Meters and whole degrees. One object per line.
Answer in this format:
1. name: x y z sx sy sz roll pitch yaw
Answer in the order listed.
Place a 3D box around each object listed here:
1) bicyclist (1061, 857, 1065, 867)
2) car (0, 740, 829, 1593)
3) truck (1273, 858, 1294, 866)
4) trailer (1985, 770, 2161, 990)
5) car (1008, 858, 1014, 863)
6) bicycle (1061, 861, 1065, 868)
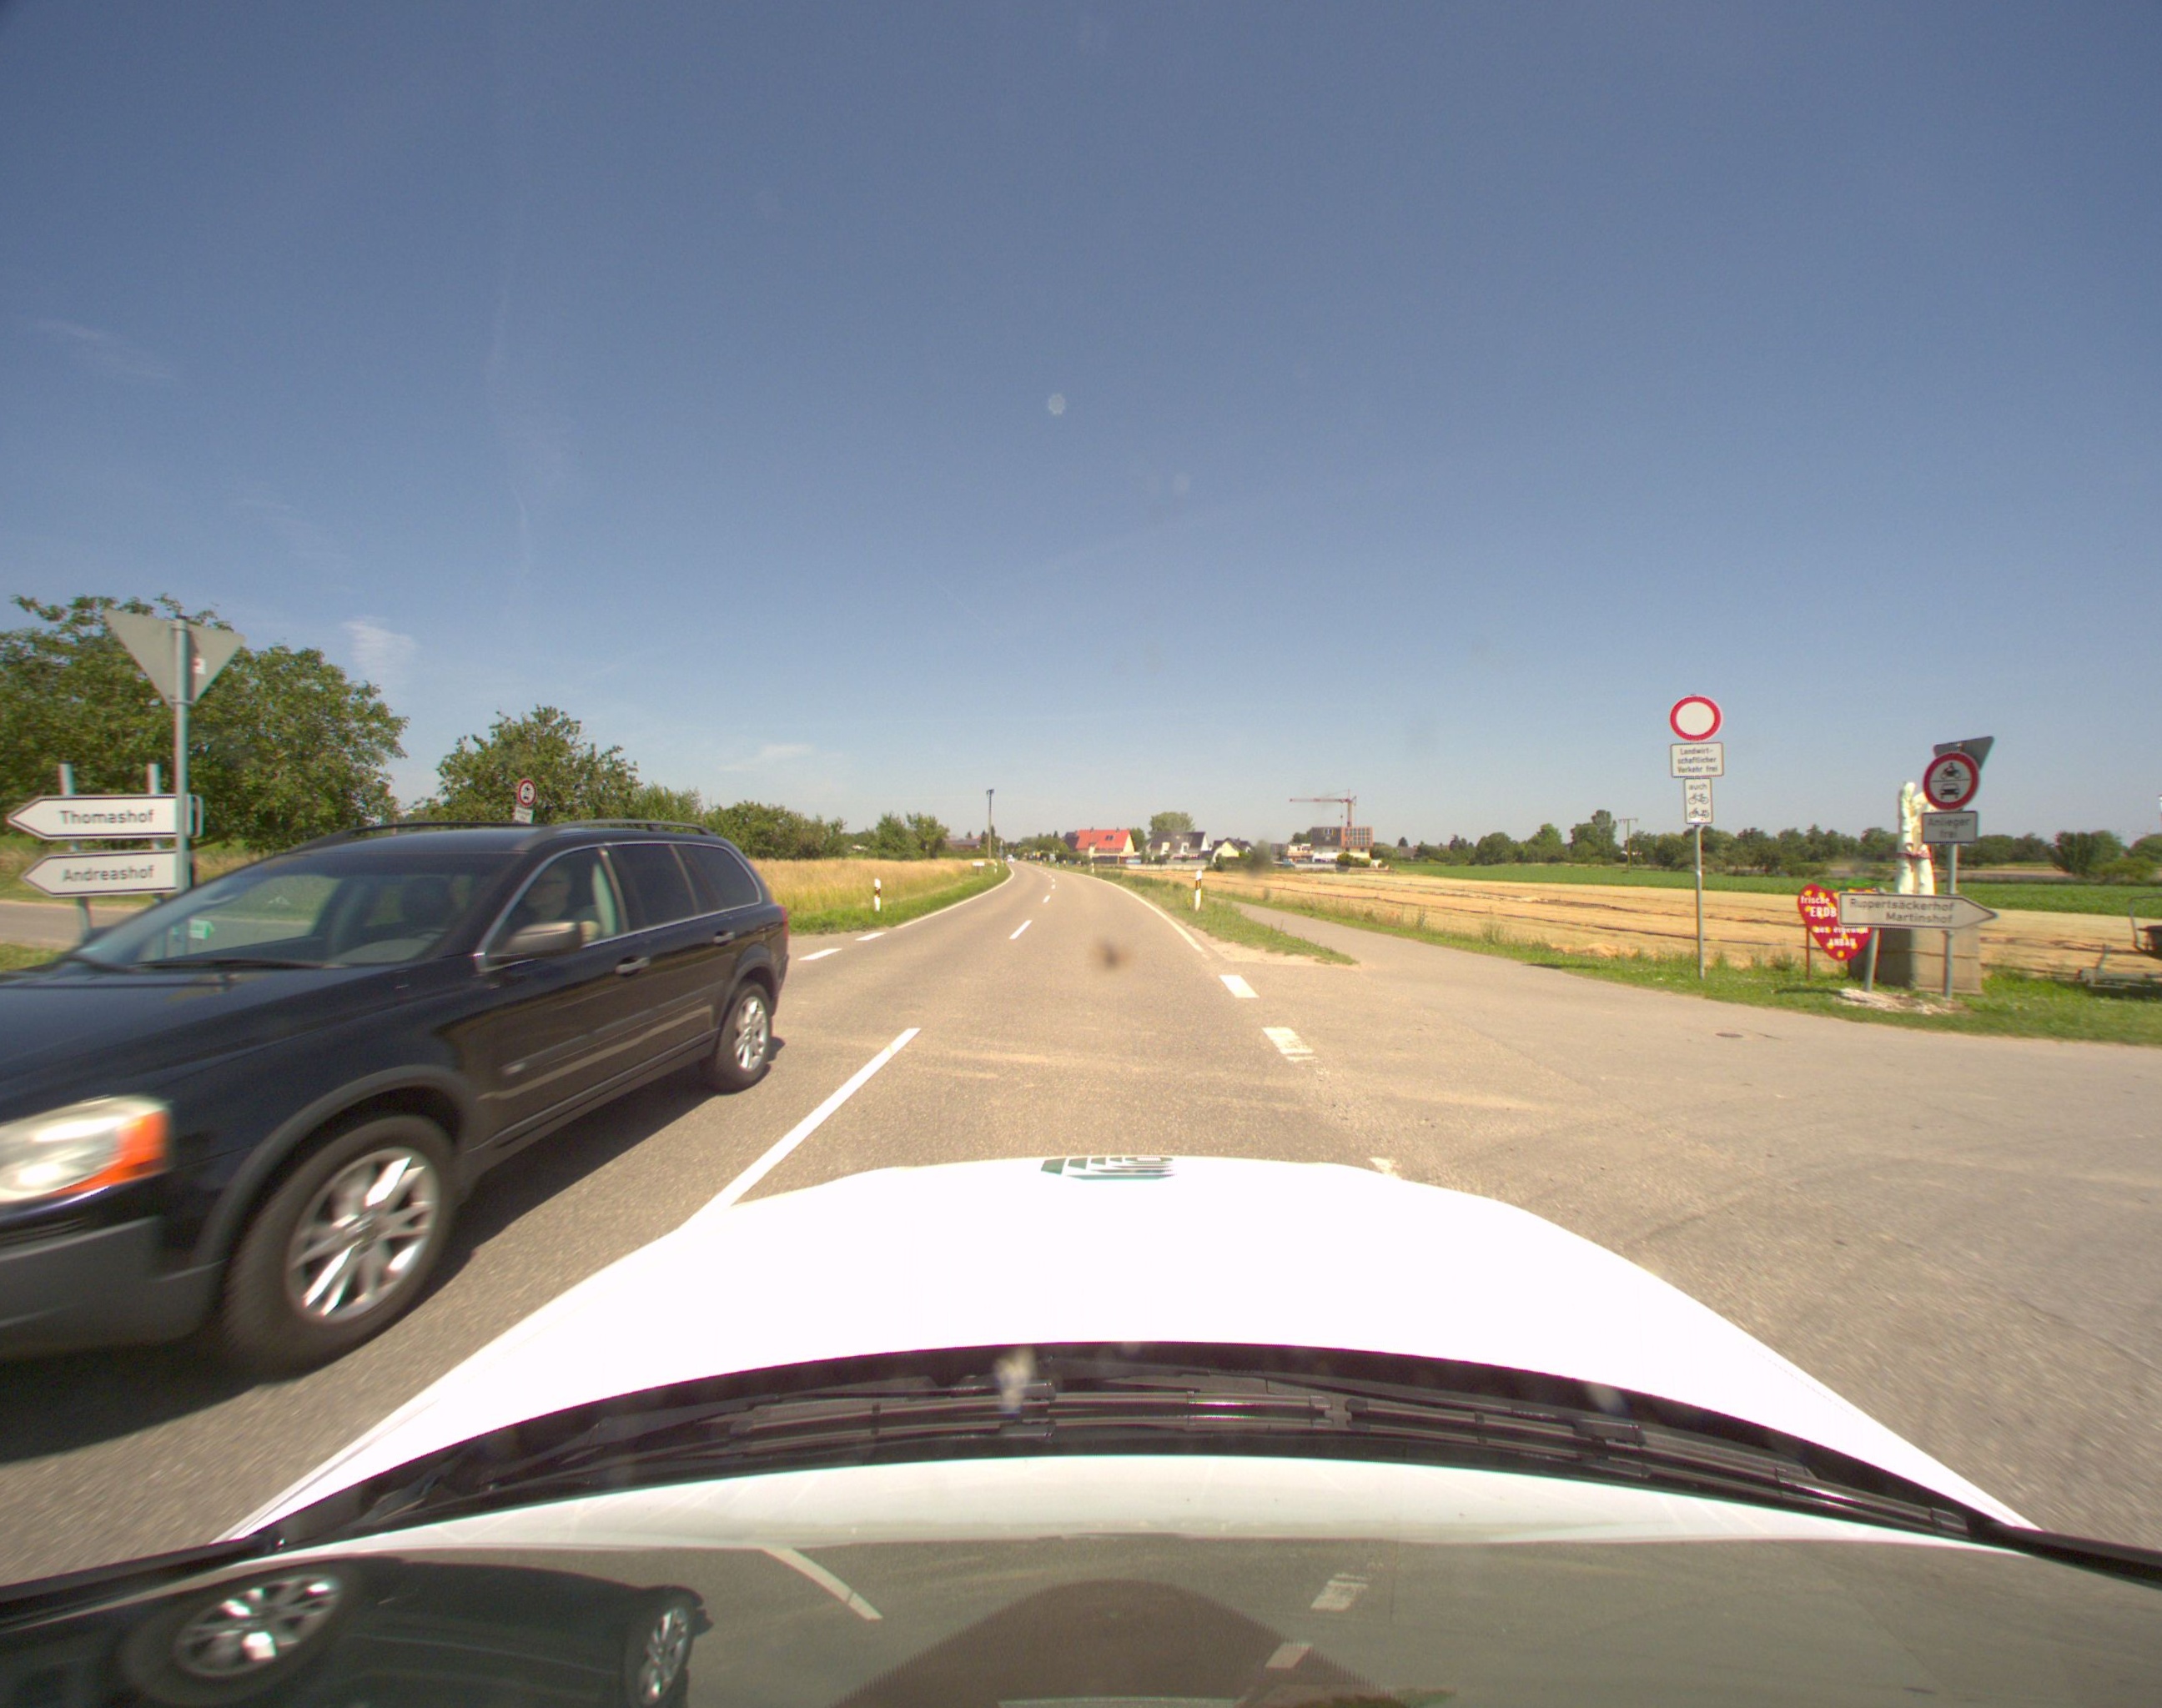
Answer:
1. bicyclist: -3.202 1.445 146.787 0.644 1.889 0.859 2 0 -7
2. car: -3.149 0.666 4.240 1.926 1.751 5.204 -1 0 1
3. truck: 57.342 2.211 230.179 5.508 2.230 2.225 0 -1 19
4. trailer: 16.768 0.365 11.389 5.240 2.952 2.007 0 -2 14
5. car: -19.489 1.712 226.796 1.789 1.409 4.177 0 0 -6
6. bicycle: -3.231 1.829 146.862 0.609 1.158 2.269 2 0 -6
